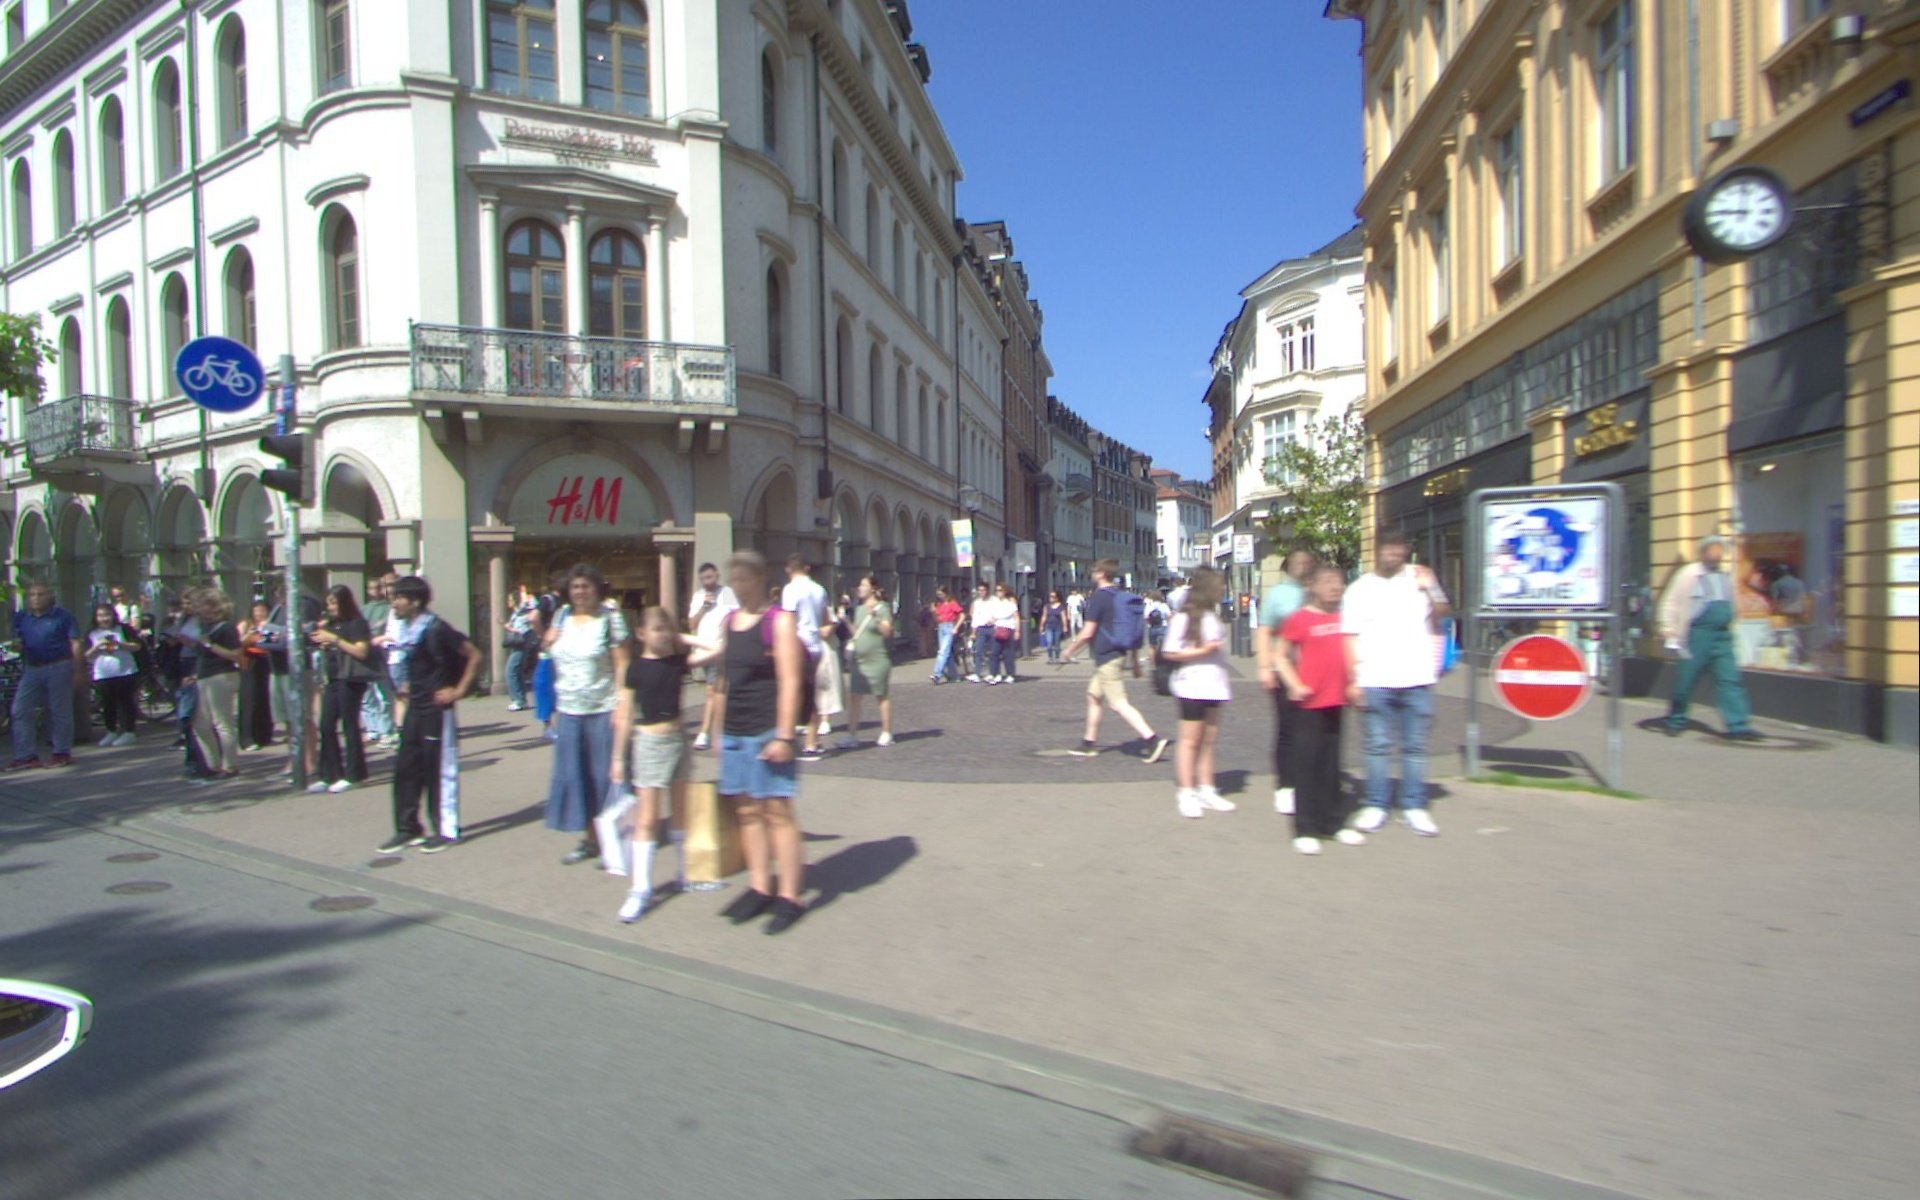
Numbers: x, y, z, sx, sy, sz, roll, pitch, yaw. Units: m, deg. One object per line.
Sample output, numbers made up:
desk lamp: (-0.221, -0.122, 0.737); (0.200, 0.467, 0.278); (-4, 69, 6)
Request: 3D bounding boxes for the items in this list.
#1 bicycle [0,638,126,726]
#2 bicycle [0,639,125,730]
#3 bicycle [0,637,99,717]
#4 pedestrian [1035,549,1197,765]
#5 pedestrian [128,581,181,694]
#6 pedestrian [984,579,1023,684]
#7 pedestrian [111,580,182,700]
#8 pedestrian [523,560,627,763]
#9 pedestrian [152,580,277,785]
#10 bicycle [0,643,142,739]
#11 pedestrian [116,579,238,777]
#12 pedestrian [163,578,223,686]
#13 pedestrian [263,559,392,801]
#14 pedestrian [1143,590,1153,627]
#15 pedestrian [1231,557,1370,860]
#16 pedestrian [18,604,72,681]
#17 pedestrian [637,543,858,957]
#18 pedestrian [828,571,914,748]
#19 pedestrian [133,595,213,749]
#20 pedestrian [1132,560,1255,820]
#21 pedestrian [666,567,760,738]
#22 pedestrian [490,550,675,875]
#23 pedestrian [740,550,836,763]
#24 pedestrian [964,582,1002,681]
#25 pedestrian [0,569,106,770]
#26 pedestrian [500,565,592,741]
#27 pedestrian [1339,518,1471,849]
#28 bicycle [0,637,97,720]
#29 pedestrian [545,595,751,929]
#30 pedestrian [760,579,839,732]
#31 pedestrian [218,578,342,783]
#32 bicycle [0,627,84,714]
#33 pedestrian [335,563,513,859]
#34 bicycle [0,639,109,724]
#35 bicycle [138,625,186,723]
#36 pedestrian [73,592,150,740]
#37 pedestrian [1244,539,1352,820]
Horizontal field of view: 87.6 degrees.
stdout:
bicycle: (-11.608, 1.027, 12.755); (0.439, 0.993, 1.417); (1, 2, 32)
bicycle: (-11.304, 1.025, 12.383); (0.439, 0.993, 1.417); (1, 2, 32)
bicycle: (-12.686, 1.041, 13.605); (0.395, 0.993, 1.417); (1, 2, 32)
pedestrian: (1.398, 0.501, 8.989); (1.216, 1.813, 0.656); (-2, 0, 32)
pedestrian: (-13.317, 0.610, 16.559); (0.603, 1.815, 0.476); (0, 1, 32)
pedestrian: (0.752, 0.541, 17.506); (0.664, 1.793, 0.542); (0, 0, 2)
pedestrian: (-12.666, 0.609, 15.599); (0.603, 1.815, 0.674); (0, 1, 32)
pedestrian: (-3.634, 0.558, 9.464); (0.668, 1.831, 0.609); (-1, 1, 30)
pedestrian: (-6.521, 0.698, 8.771); (0.596, 1.697, 0.581); (-1, 4, 30)
bicycle: (-10.669, 1.052, 11.870); (0.439, 0.993, 1.417); (1, 2, 32)
pedestrian: (-7.166, 0.692, 9.180); (0.596, 1.724, 0.581); (-1, 4, 30)
pedestrian: (-13.187, 0.546, 17.221); (0.603, 1.815, 0.627); (0, 1, 32)
pedestrian: (-5.104, 0.619, 8.090); (0.668, 1.848, 0.609); (-1, 1, 30)
pedestrian: (8.751, 0.402, 46.600); (0.442, 1.699, 0.492); (-1, 1, 9)
pedestrian: (1.963, 0.584, 5.758); (0.632, 1.633, 0.521); (-1, 2, 32)
pedestrian: (-19.424, 0.882, 21.264); (0.603, 1.593, 0.674); (-1, 1, 30)
pedestrian: (-0.991, 0.646, 4.762); (0.667, 1.793, 0.670); (-1, 4, 30)
pedestrian: (-0.905, 0.590, 10.223); (0.667, 1.739, 0.539); (-1, 0, 28)
pedestrian: (-8.641, 0.770, 11.011); (0.524, 1.617, 0.608); (-4, 2, -31)
pedestrian: (1.554, 0.563, 6.650); (0.632, 1.630, 0.521); (-1, 2, 32)
pedestrian: (-2.470, 0.500, 10.020); (0.667, 1.641, 0.609); (2, 2, 30)
pedestrian: (-2.220, 0.620, 5.931); (0.667, 1.784, 0.608); (-1, 5, 30)
pedestrian: (-1.582, 0.501, 9.243); (0.534, 1.880, 0.674); (-1, 1, 30)
pedestrian: (0.413, 0.563, 17.880); (0.664, 1.739, 0.542); (0, 0, 2)
pedestrian: (-9.266, 0.670, 10.162); (0.680, 1.924, 0.608); (-5, 4, -31)
pedestrian: (-4.506, 0.562, 10.912); (0.668, 1.848, 0.609); (-1, 1, 30)
pedestrian: (2.658, 0.467, 5.966); (0.632, 1.848, 0.521); (-1, 2, 32)
bicycle: (-12.405, 1.039, 13.244); (0.439, 0.993, 1.417); (1, 2, 32)
pedestrian: (-1.580, 0.773, 5.116); (0.668, 1.537, 0.608); (-1, 5, 30)
pedestrian: (-1.791, 0.610, 11.208); (0.668, 1.654, 0.539); (-1, 0, 30)
pedestrian: (-5.931, 0.680, 8.753); (0.596, 1.697, 0.581); (-1, 4, 30)
bicycle: (-13.063, 0.979, 13.796); (0.395, 1.129, 1.417); (1, 2, 32)
pedestrian: (-3.428, 0.669, 6.429); (0.668, 1.764, 0.608); (-1, 5, 30)
bicycle: (-12.006, 1.043, 12.966); (0.439, 0.993, 1.417); (1, 2, 32)
bicycle: (-10.286, 0.924, 12.925); (0.396, 1.129, 1.414); (-2, 3, -37)
pedestrian: (-9.656, 0.726, 11.417); (0.524, 1.617, 0.608); (-1, 4, -31)
pedestrian: (2.197, 0.485, 6.491); (0.528, 1.726, 0.521); (-1, 2, 32)
